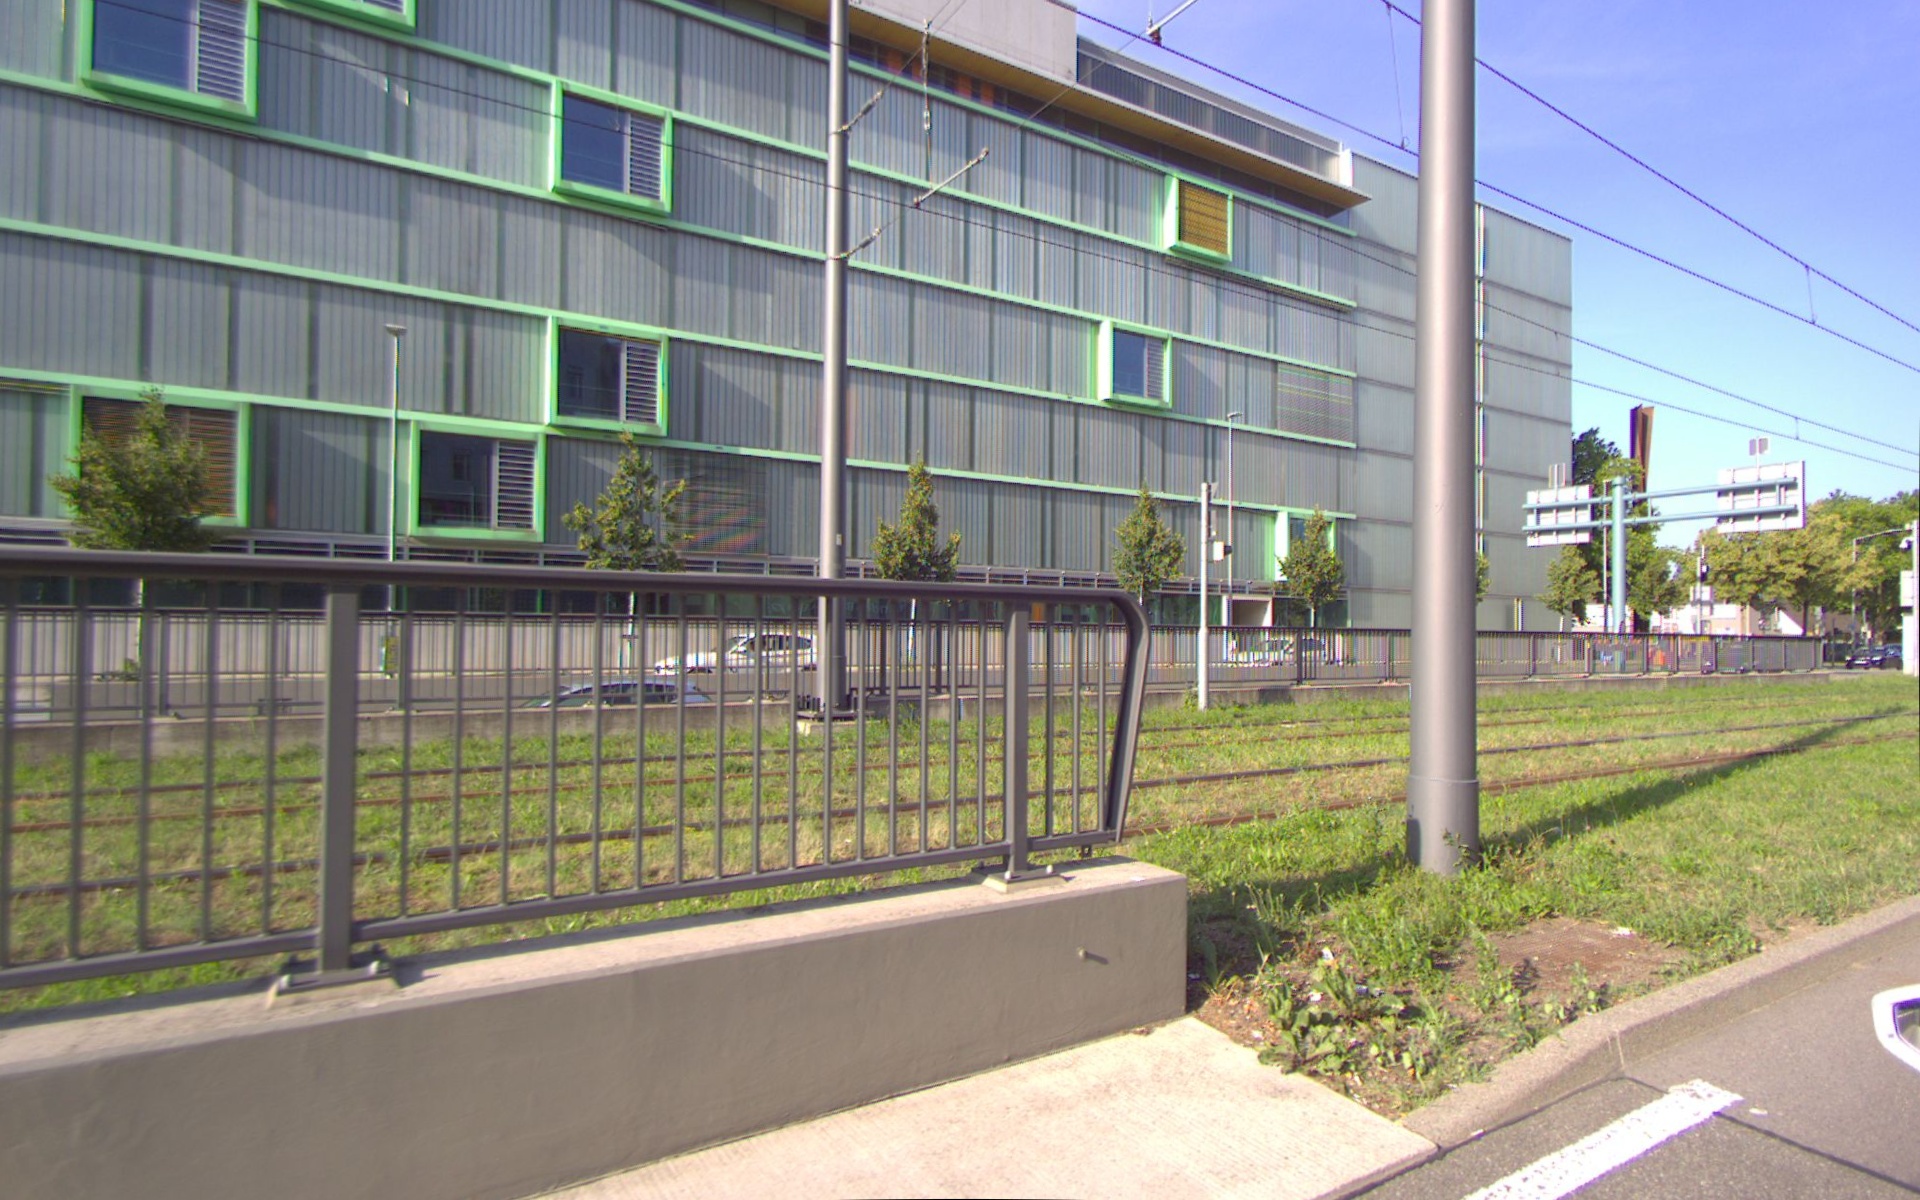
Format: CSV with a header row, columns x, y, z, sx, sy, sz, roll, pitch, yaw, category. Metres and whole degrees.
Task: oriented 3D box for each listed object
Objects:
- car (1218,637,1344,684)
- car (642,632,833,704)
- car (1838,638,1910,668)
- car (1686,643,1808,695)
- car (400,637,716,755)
x,y,z,sx,sy,sz,roll,pitch,yaw,category
10.516,1.924,32.845,4.139,1.441,1.651,1,-2,-32,car
-5.132,1.512,23.283,3.981,1.507,1.762,1,-2,-31,car
54.857,3.151,60.274,4.674,1.709,1.983,1,-2,-32,car
28.312,2.418,36.116,4.674,1.709,1.983,1,-2,-32,car
-5.647,1.257,14.247,3.955,1.441,1.651,1,-2,-32,car
